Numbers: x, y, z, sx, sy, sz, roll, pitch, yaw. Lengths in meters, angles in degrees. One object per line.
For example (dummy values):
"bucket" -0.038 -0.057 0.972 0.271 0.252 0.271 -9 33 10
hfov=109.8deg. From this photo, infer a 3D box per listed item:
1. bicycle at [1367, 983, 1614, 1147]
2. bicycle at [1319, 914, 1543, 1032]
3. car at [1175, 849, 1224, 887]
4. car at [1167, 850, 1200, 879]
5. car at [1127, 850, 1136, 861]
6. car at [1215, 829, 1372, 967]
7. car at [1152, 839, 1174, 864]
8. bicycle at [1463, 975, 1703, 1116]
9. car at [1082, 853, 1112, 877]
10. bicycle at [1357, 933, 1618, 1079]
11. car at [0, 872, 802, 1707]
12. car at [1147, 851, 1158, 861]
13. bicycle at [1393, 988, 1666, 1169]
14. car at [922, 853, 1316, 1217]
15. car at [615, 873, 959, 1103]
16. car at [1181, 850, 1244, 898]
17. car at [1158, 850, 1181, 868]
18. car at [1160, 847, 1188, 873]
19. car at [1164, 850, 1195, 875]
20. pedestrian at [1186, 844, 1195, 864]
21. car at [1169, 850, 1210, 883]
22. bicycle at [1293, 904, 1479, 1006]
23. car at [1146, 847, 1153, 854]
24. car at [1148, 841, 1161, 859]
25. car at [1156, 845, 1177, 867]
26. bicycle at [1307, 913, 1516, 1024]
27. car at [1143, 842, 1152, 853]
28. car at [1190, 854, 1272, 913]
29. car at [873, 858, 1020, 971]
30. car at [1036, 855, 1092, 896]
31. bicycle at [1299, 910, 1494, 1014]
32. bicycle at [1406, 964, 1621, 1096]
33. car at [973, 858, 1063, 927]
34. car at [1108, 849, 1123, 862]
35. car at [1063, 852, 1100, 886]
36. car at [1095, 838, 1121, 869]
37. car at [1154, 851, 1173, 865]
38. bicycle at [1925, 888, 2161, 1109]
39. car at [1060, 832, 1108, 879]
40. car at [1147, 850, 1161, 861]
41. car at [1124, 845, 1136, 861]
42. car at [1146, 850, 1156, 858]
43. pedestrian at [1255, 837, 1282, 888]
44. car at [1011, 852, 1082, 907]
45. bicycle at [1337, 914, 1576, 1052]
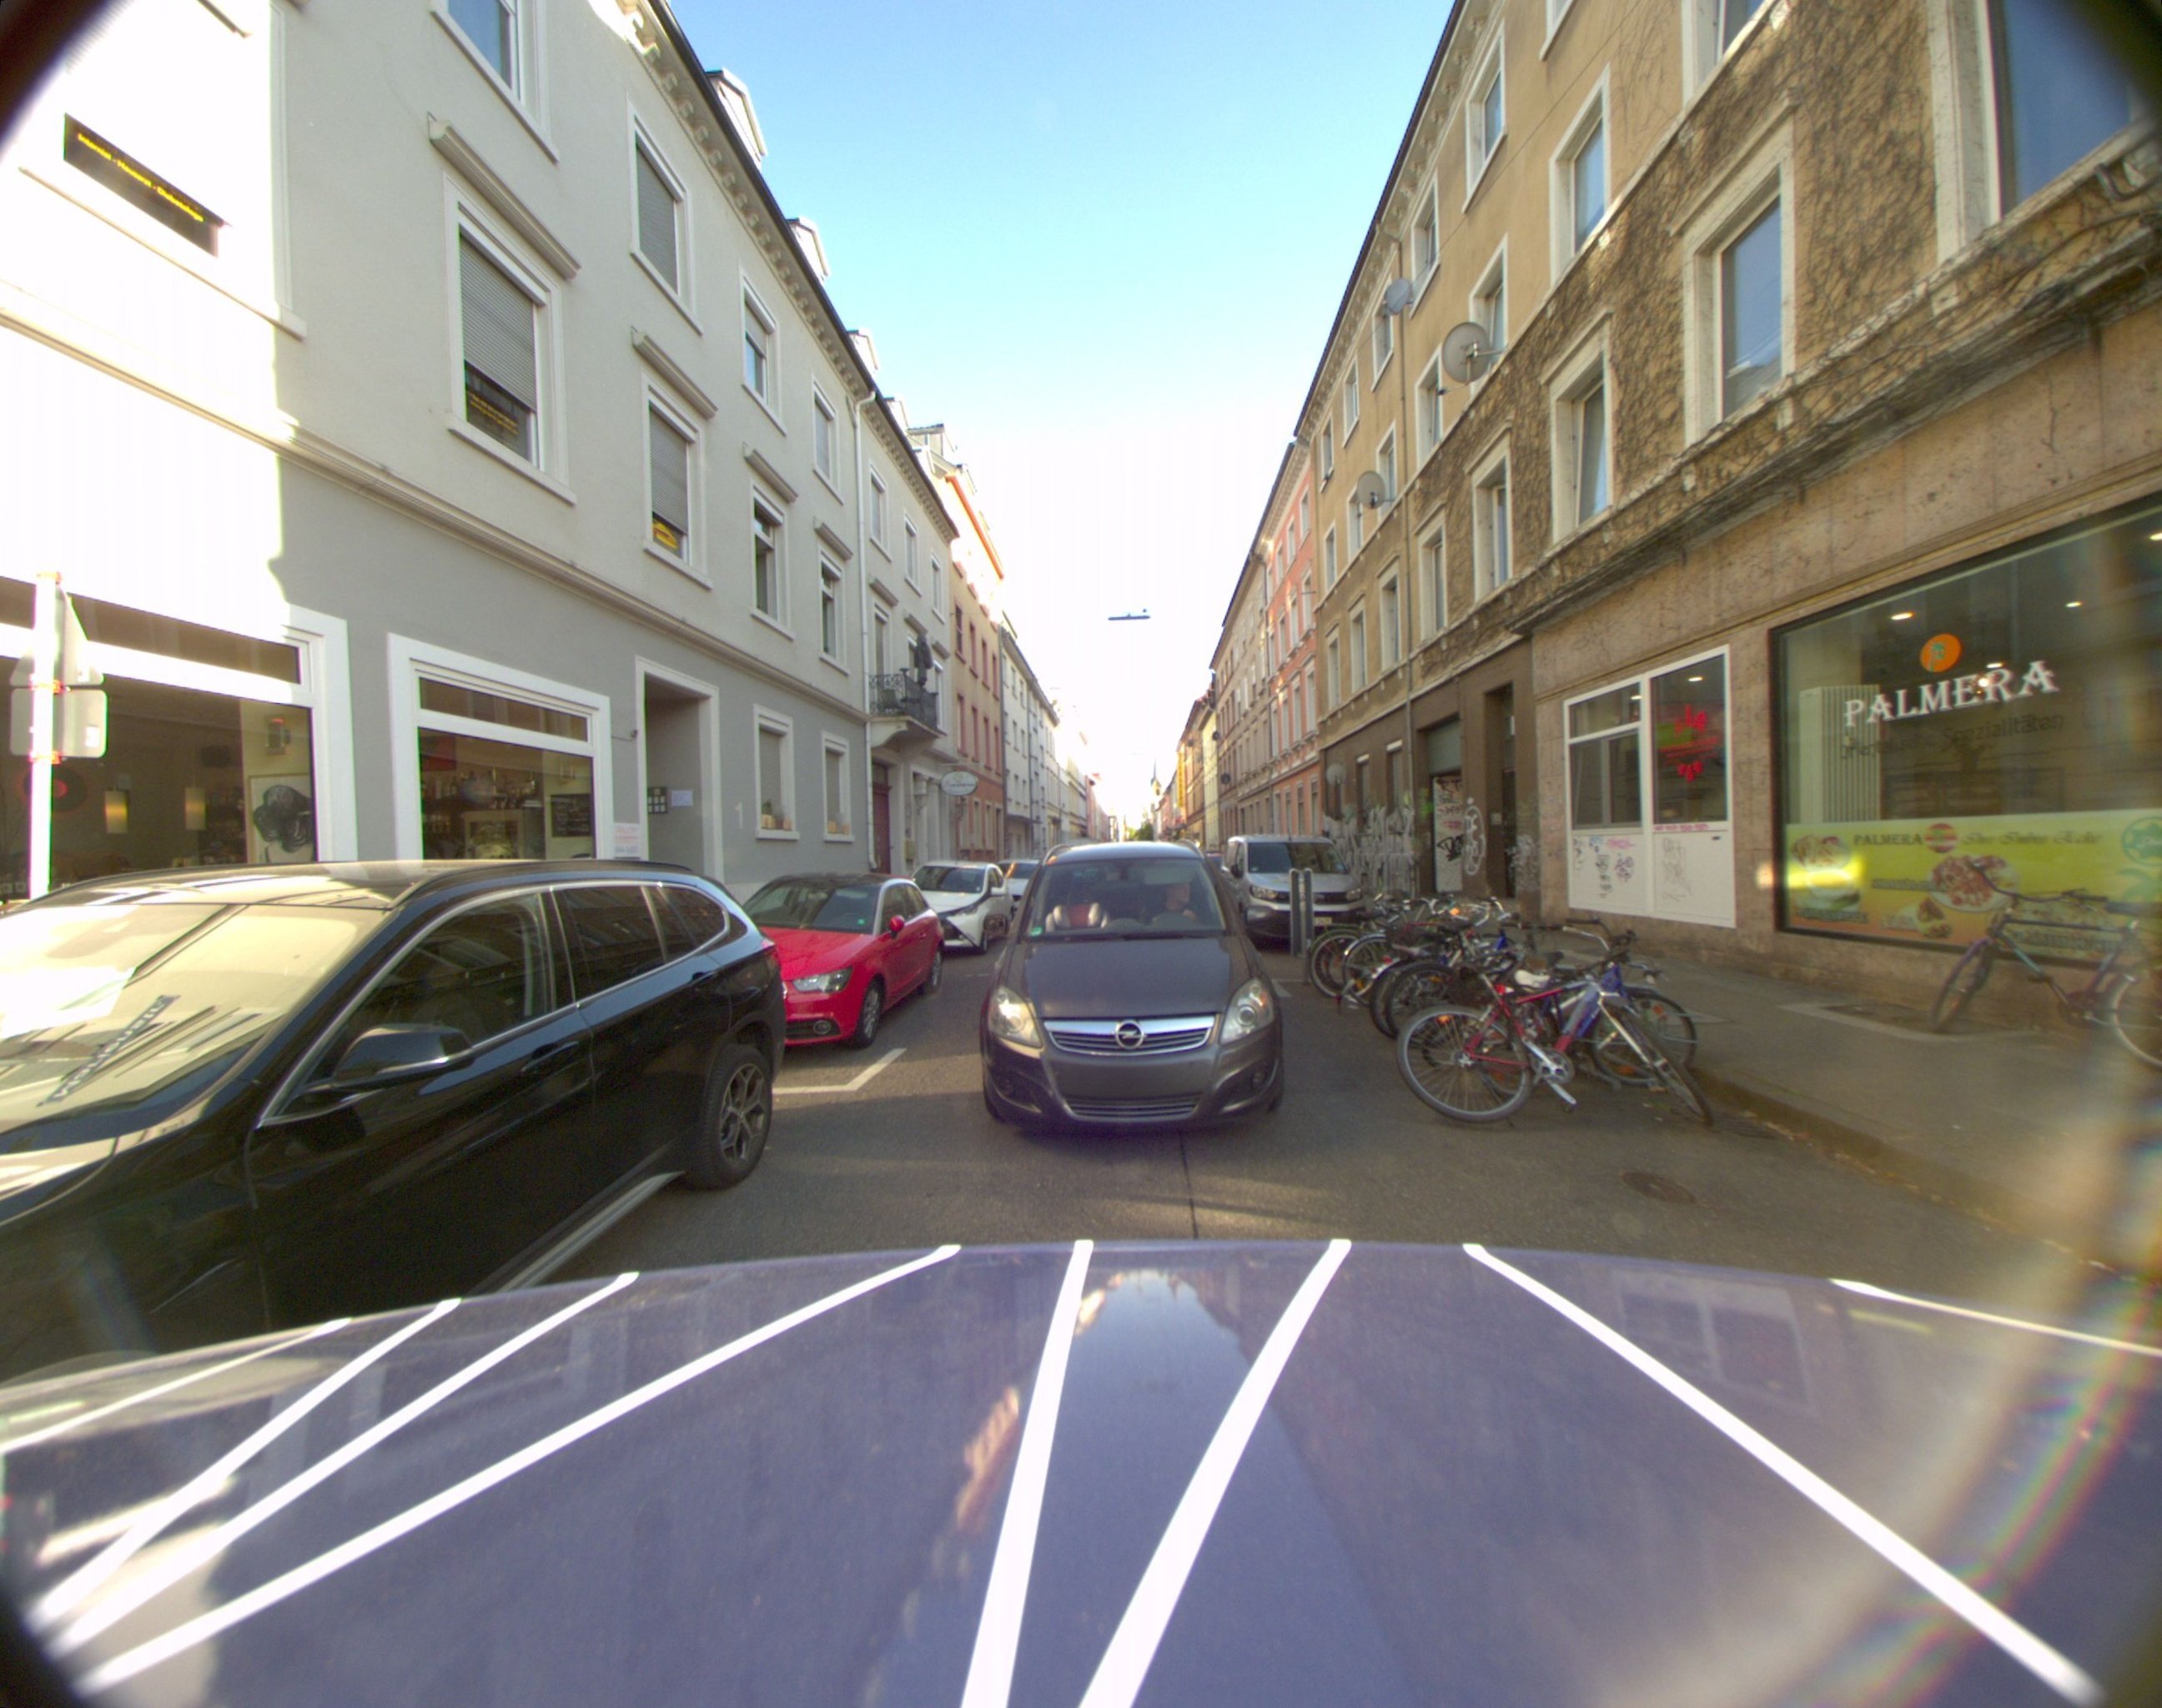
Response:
"bicycle" 2.433 1.239 4.550 1.312 0.813 0.355 -2 1 -5
"bicycle" 3.097 1.053 6.808 1.769 0.956 0.443 -2 1 3
"car" 5.091 0.575 33.039 1.683 1.483 3.612 -2 0 2
"car" 5.800 0.553 42.792 1.682 1.454 3.862 -2 0 9
"car" 10.723 0.321 160.176 1.683 2.077 4.160 -3 0 4
"car" 3.372 0.601 12.910 1.683 1.899 4.520 1 1 4
"car" 8.753 -0.264 81.624 2.093 2.576 5.844 -2 0 4
"bicycle" 3.286 1.238 5.000 1.391 0.813 0.361 0 0 -5
"car" 1.070 0.698 50.154 1.683 1.434 3.861 -3 0 5
"bicycle" 3.062 1.135 5.778 1.769 0.956 0.427 -2 1 -3
"car" -2.613 0.987 2.247 1.764 1.652 4.198 -3 0 3
"car" 11.110 0.335 117.893 1.683 1.381 3.861 -2 0 5
"bicycle" 2.440 1.203 4.170 1.312 0.813 0.371 -2 1 -5
"car" 0.341 0.879 6.232 1.798 1.652 5.185 -3 0 4
"car" -2.485 1.043 7.564 1.649 1.494 3.955 -3 0 3
"car" 4.460 0.630 26.097 1.683 1.540 2.960 -1 0 0
"car" 7.386 0.372 63.638 1.683 1.407 3.861 -2 0 5
"car" 6.457 0.394 52.938 1.683 1.674 3.861 -2 0 5
"car" 6.195 0.499 48.119 1.683 1.454 3.861 -2 0 5
"pedestrian" 10.310 0.007 71.539 0.626 1.820 0.595 -3 1 5
"car" 5.337 0.575 37.823 1.683 1.454 4.314 -2 0 5
"bicycle" 3.225 1.068 8.111 1.769 0.983 0.463 -2 1 3
"car" 18.057 -0.866 201.789 1.683 1.851 4.160 -3 0 4
"car" 9.956 -0.487 102.911 1.683 2.352 4.099 -2 0 5
"car" 7.926 0.184 70.336 1.751 1.880 4.773 -2 0 7
"bicycle" 3.122 1.085 7.255 1.769 0.956 0.422 -2 1 3
"car" 20.315 -1.942 231.794 2.564 3.029 7.063 -3 0 4
"car" 4.132 0.743 21.542 1.683 1.465 4.204 0 1 3
"car" -2.175 0.923 13.317 1.640 1.577 3.789 -3 0 3
"car" -0.602 0.792 30.267 1.771 1.386 4.495 -3 0 4
"bicycle" 3.155 1.077 7.674 1.769 0.956 0.405 -2 1 3
"bicycle" 2.996 1.202 5.294 1.312 0.813 0.381 0 0 -5
"car" -1.521 0.917 19.931 1.683 1.501 4.191 -3 0 4
"car" 4.521 0.224 98.812 1.683 1.588 3.861 -3 0 4
"car" 0.051 0.727 38.450 1.683 1.550 3.860 -3 0 2
"car" 2.622 -0.084 71.543 2.049 2.662 6.187 -3 0 5
"car" 8.187 0.375 75.612 1.683 1.381 3.861 -2 0 5
"bicycle" 5.925 0.795 4.398 0.398 1.086 1.591 -1 1 4
"car" 0.264 0.076 45.159 2.049 2.498 6.025 -3 0 7
"car" 9.212 0.191 95.969 1.683 1.381 3.861 -2 0 5
"car" 10.754 -0.275 167.000 2.436 3.404 5.544 -3 0 4
"car" 11.772 -0.029 128.072 1.683 1.381 3.861 -2 0 5
"pedestrian" 6.959 0.310 28.192 0.790 1.820 0.594 -3 1 5
"car" -1.087 0.798 25.784 1.682 1.588 4.192 -3 0 7
"bicycle" 3.049 1.025 6.208 1.770 0.956 0.481 -2 1 -8
